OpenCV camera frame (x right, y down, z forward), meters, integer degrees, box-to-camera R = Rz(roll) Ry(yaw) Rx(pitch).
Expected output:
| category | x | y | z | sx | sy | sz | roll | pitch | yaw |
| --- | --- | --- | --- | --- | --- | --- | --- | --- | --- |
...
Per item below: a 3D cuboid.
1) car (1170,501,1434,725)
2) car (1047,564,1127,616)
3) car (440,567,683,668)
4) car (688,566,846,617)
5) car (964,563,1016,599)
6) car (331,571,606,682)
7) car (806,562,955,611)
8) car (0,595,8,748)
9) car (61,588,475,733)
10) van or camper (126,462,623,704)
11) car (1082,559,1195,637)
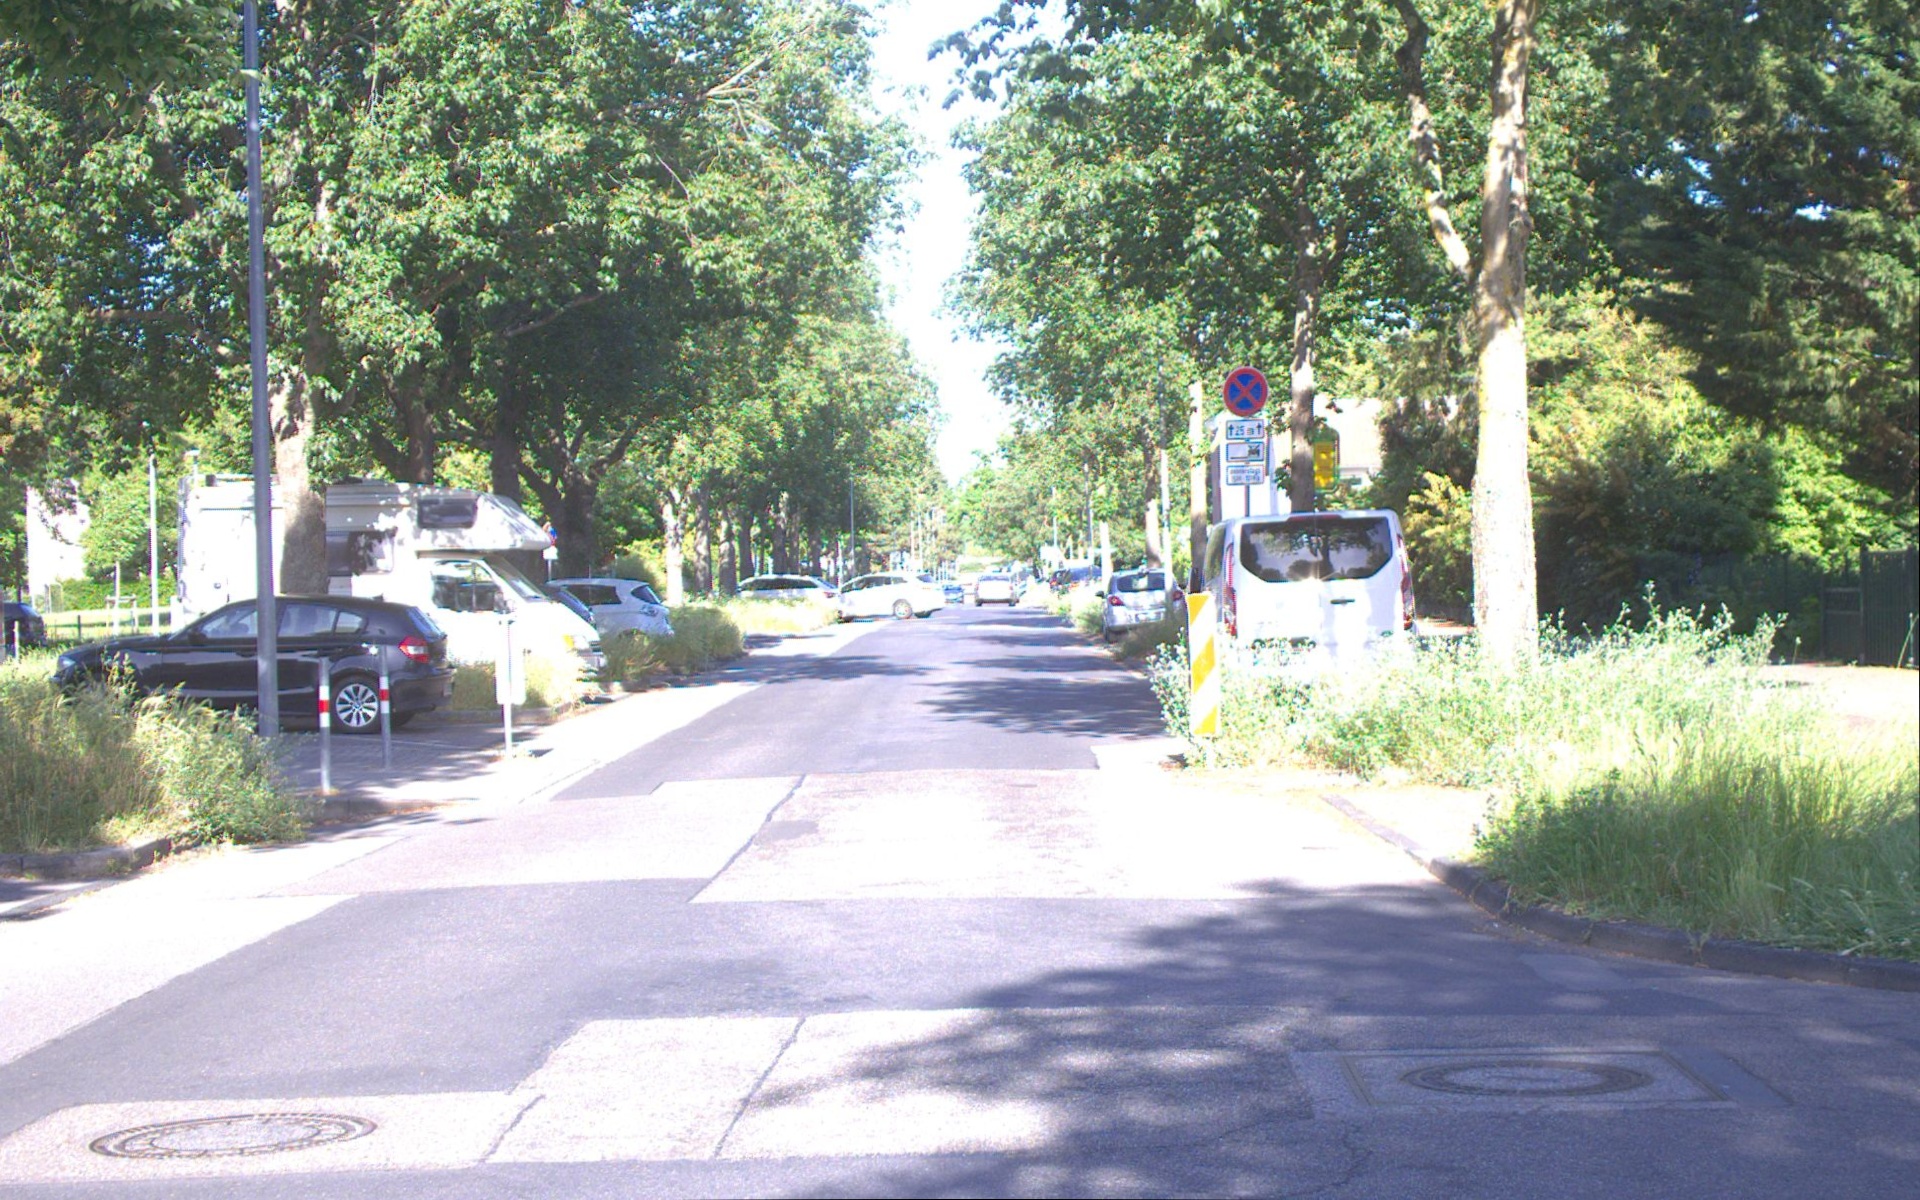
| category | x | y | z | sx | sy | sz | roll | pitch | yaw |
| --- | --- | --- | --- | --- | --- | --- | --- | --- | --- |
| car | 3.310 | 0.118 | 34.273 | 1.993 | 2.007 | 5.196 | 2 | 0 | -1 |
| car | 4.138 | -0.314 | 112.610 | 1.993 | 1.616 | 4.382 | 2 | 0 | -5 |
| car | -6.916 | 0.295 | 59.924 | 3.987 | 1.655 | 1.967 | -1 | 1 | 0 |
| car | -5.939 | -0.262 | 106.183 | 4.671 | 1.498 | 2.000 | -1 | 0 | 2 |
| car | 1.306 | -0.810 | 151.441 | 1.993 | 1.503 | 3.659 | 2 | 0 | -4 |
| car | -7.666 | 0.408 | 53.914 | 3.987 | 1.583 | 2.000 | 2 | 0 | 0 |
| car | -2.498 | -0.415 | 107.897 | 4.215 | 1.450 | 1.998 | -1 | 0 | 21 |
| car | -11.619 | 0.728 | 33.970 | 3.986 | 1.537 | 1.870 | 0 | 0 | -4 |
| car | -7.285 | 0.626 | 36.375 | 3.987 | 1.445 | 1.639 | 1 | 0 | 4 |
| van or camper | -7.293 | -0.214 | 43.193 | 5.776 | 2.795 | 2.000 | 2 | 0 | 3 |
| car | 3.758 | -0.024 | 71.789 | 1.994 | 1.505 | 3.999 | -2 | -1 | 7 |
